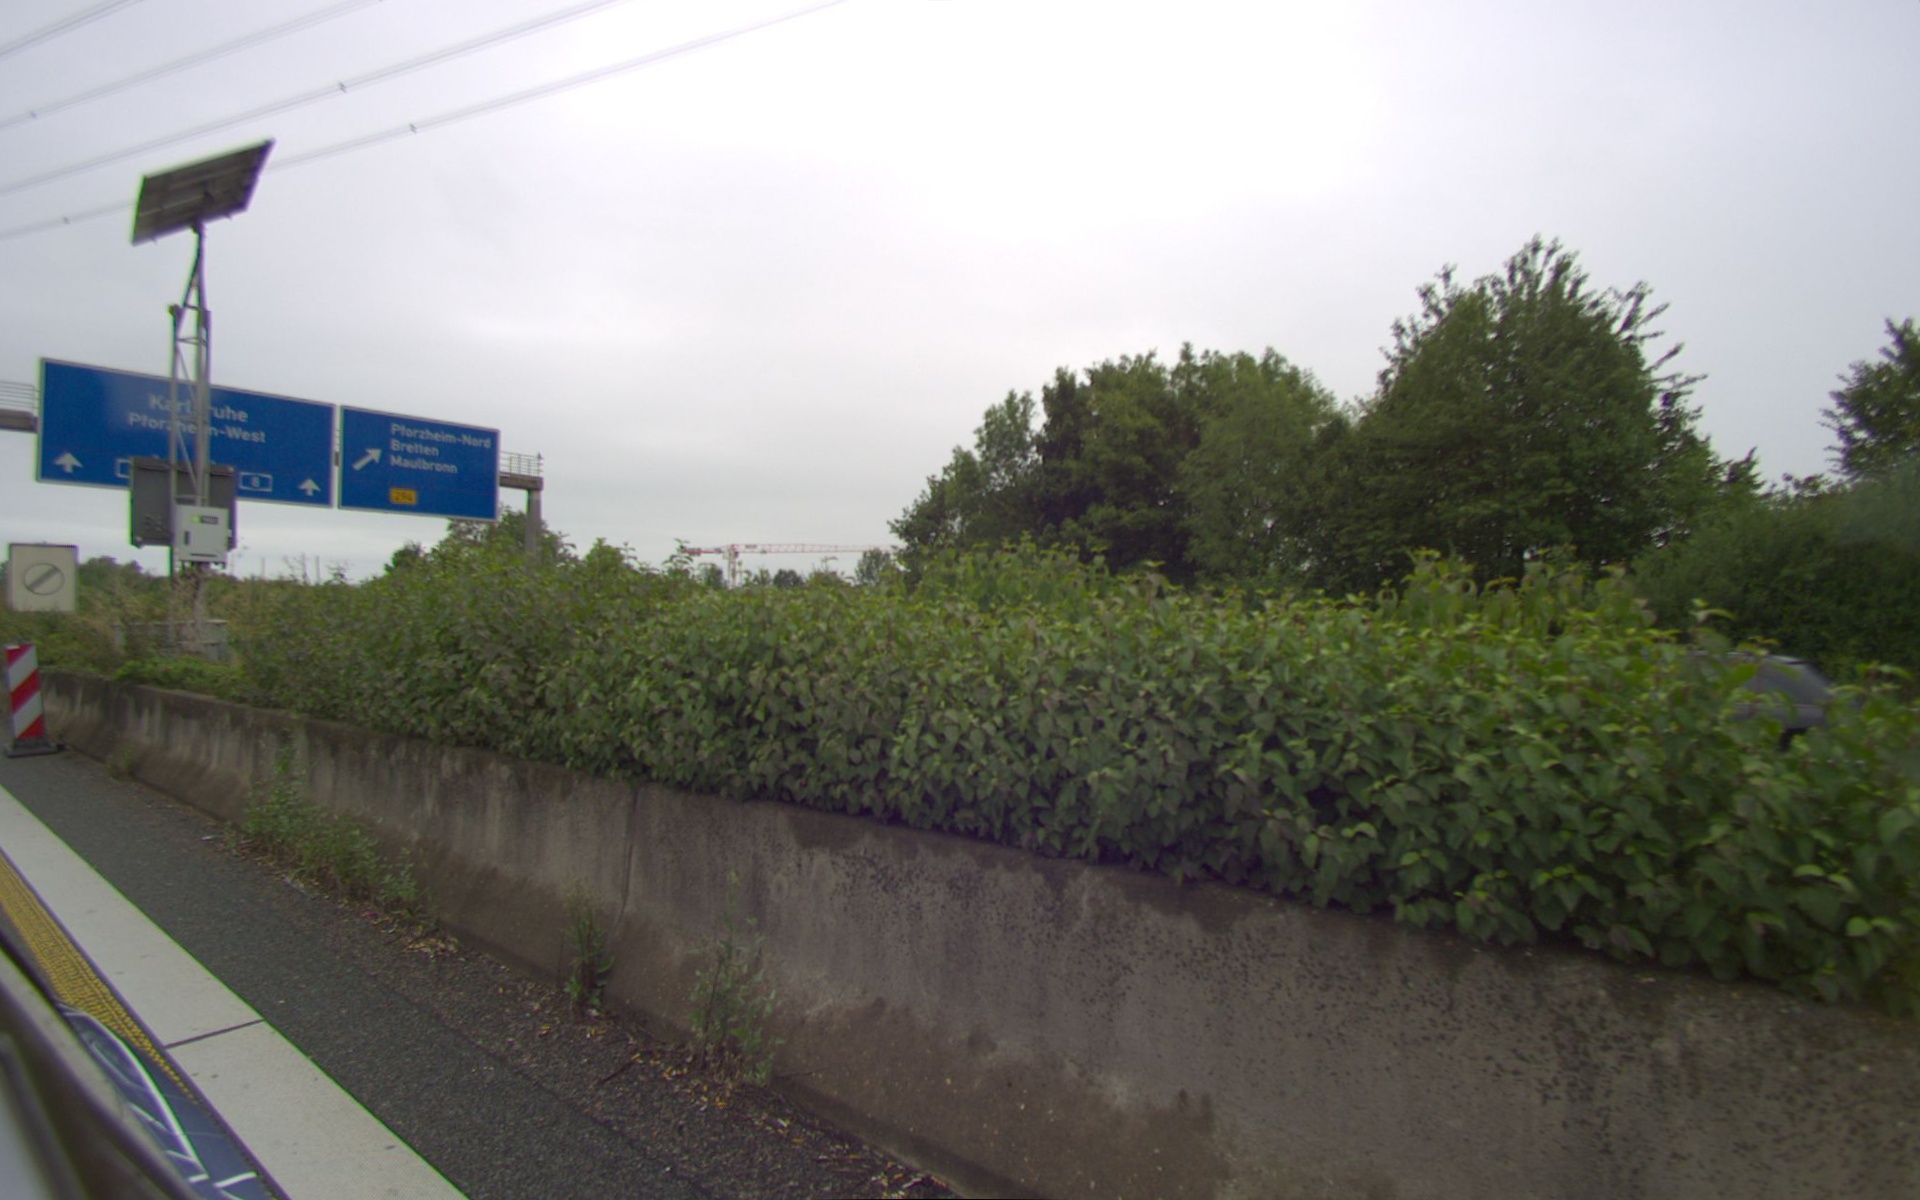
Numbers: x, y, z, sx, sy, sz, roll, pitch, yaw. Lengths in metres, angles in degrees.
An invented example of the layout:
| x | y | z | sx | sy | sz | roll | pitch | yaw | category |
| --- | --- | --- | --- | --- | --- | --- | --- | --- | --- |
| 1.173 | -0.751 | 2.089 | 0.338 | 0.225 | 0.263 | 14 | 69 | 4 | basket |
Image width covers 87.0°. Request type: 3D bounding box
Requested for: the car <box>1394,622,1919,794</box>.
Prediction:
| x | y | z | sx | sy | sz | roll | pitch | yaw | category |
| --- | --- | --- | --- | --- | --- | --- | --- | --- | --- |
| 6.221 | 0.820 | 9.034 | 3.998 | 1.217 | 1.658 | -1 | -1 | 41 | car |
